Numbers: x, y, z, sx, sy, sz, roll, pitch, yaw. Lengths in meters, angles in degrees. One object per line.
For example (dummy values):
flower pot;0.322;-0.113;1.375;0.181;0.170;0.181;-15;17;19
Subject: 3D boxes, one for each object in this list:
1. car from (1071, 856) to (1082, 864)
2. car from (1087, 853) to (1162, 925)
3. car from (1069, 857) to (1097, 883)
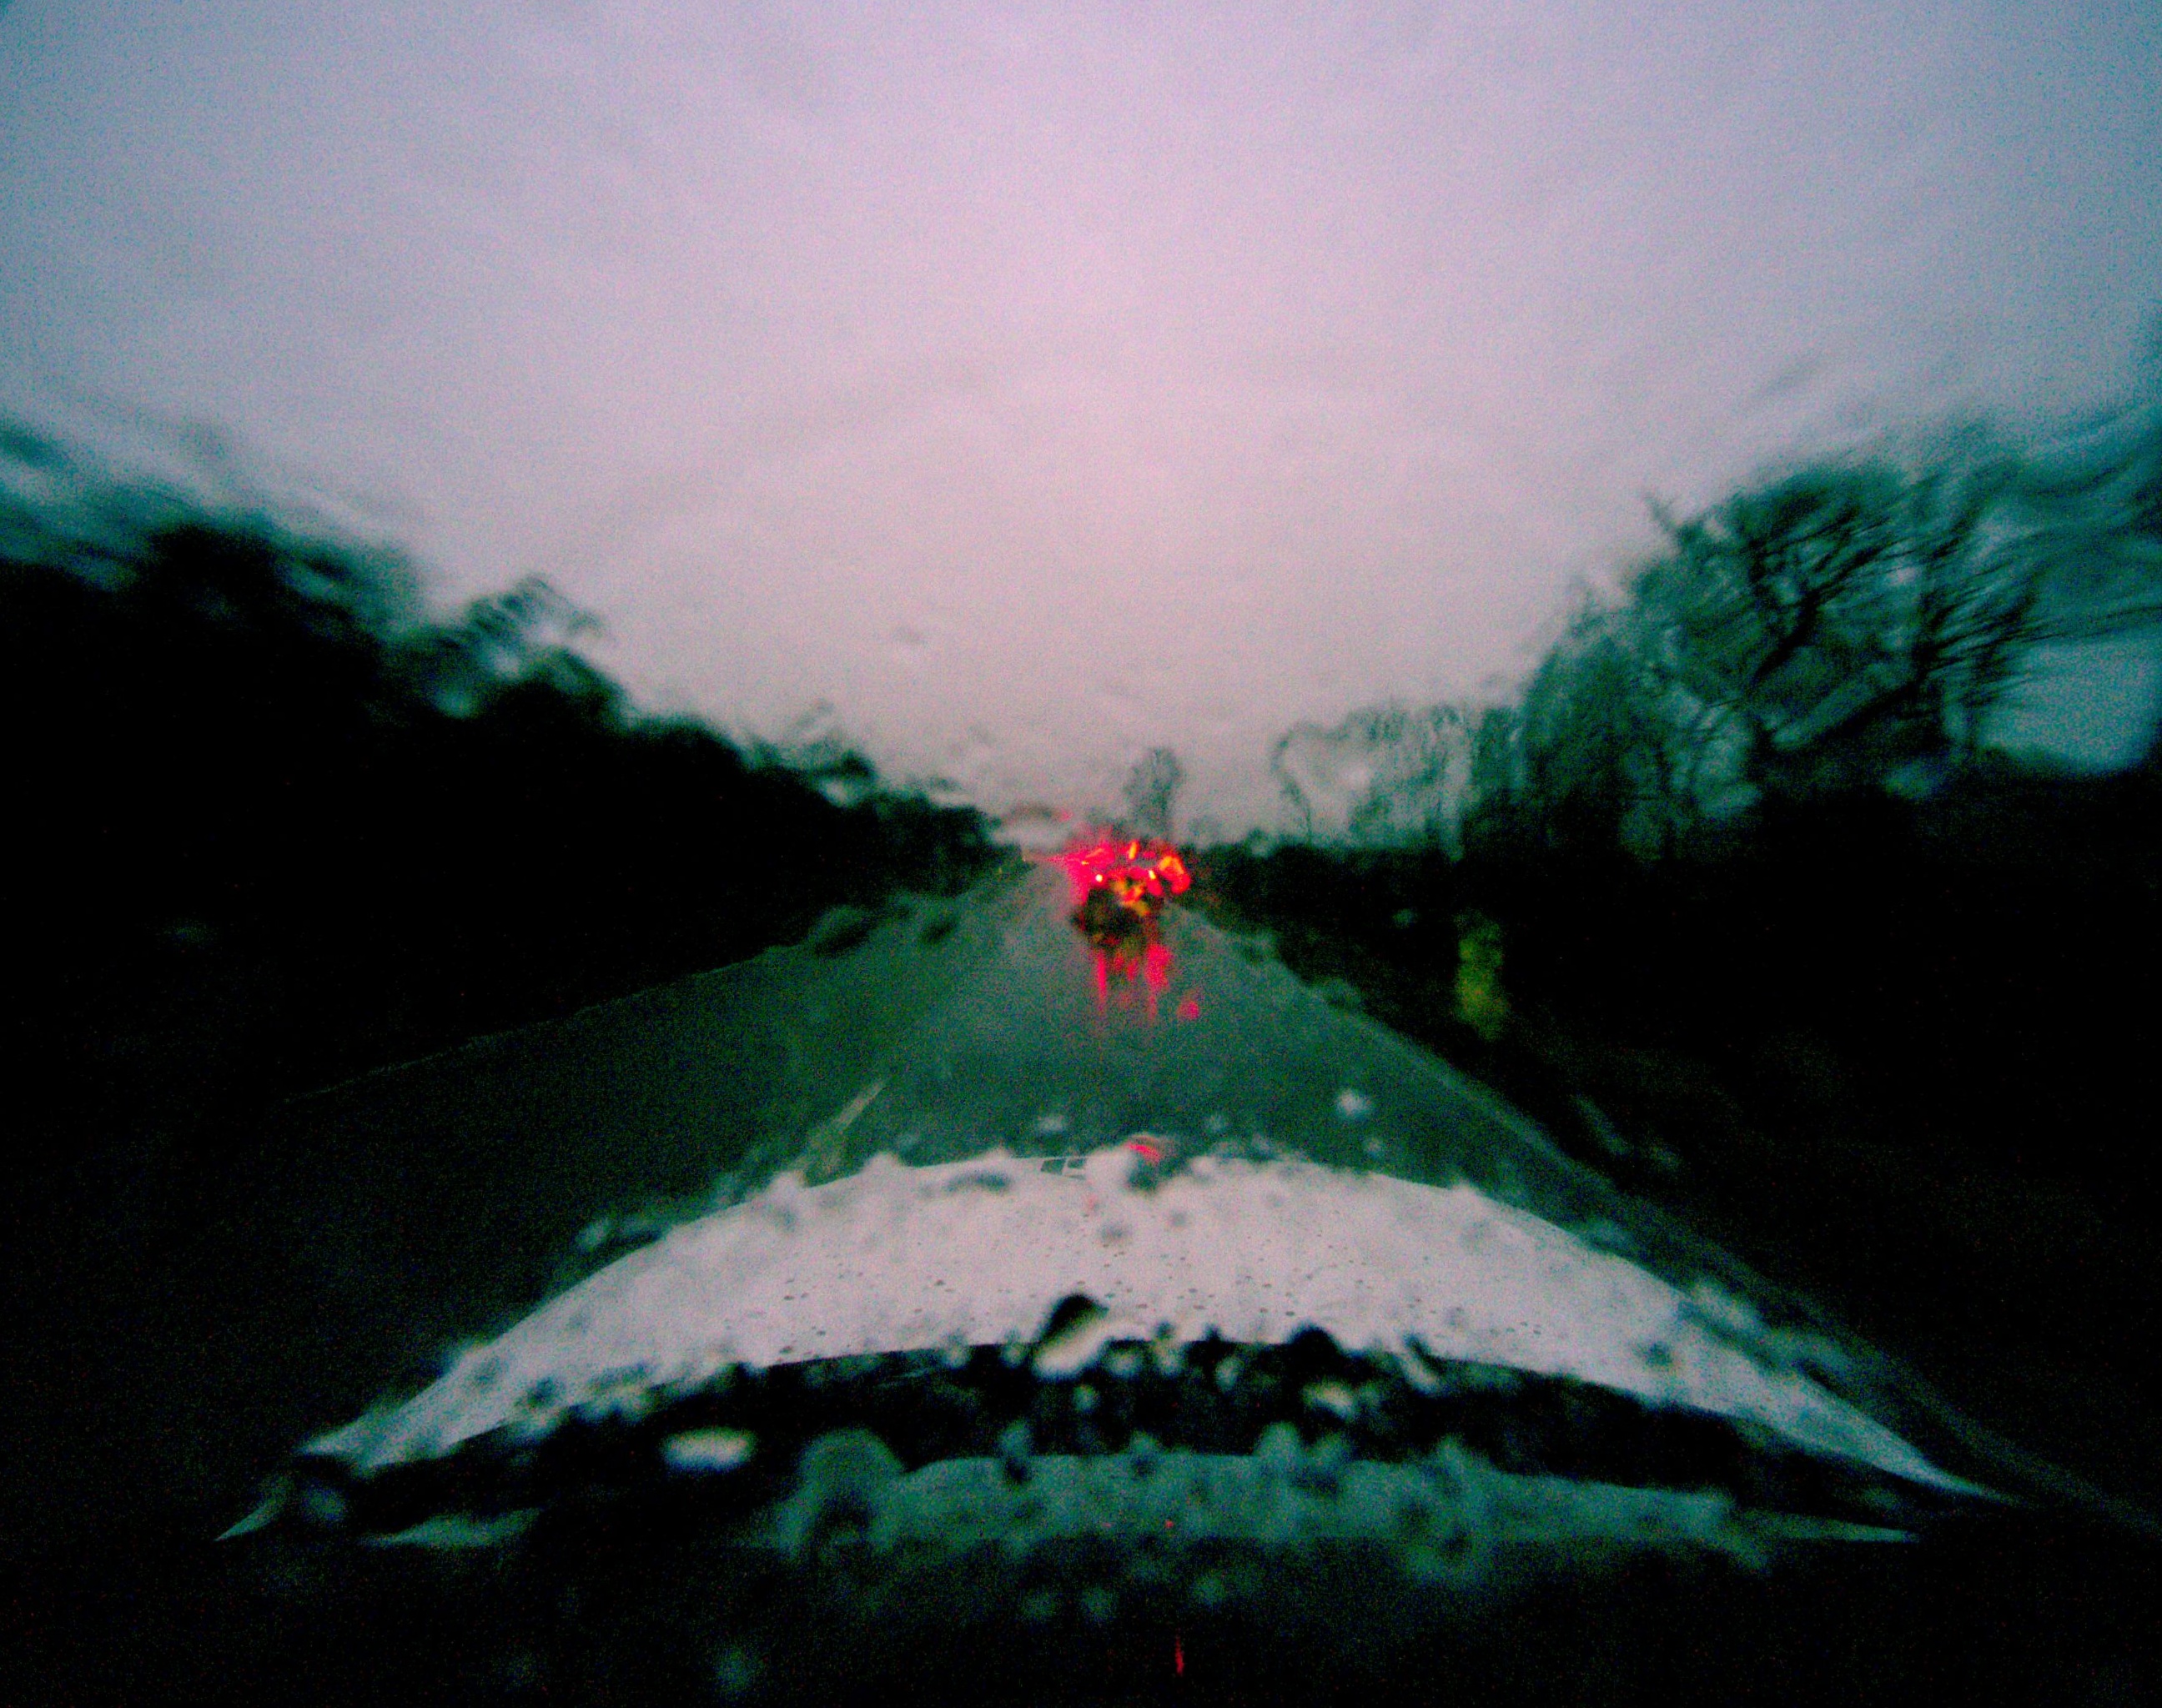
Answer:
car;-0.812;0.979;137.448;1.540;1.397;3.874;-1;0;5
car;1.050;0.752;19.440;1.595;1.522;3.873;-1;0;3
car;0.131;0.858;46.046;1.541;1.397;3.869;-1;0;1
